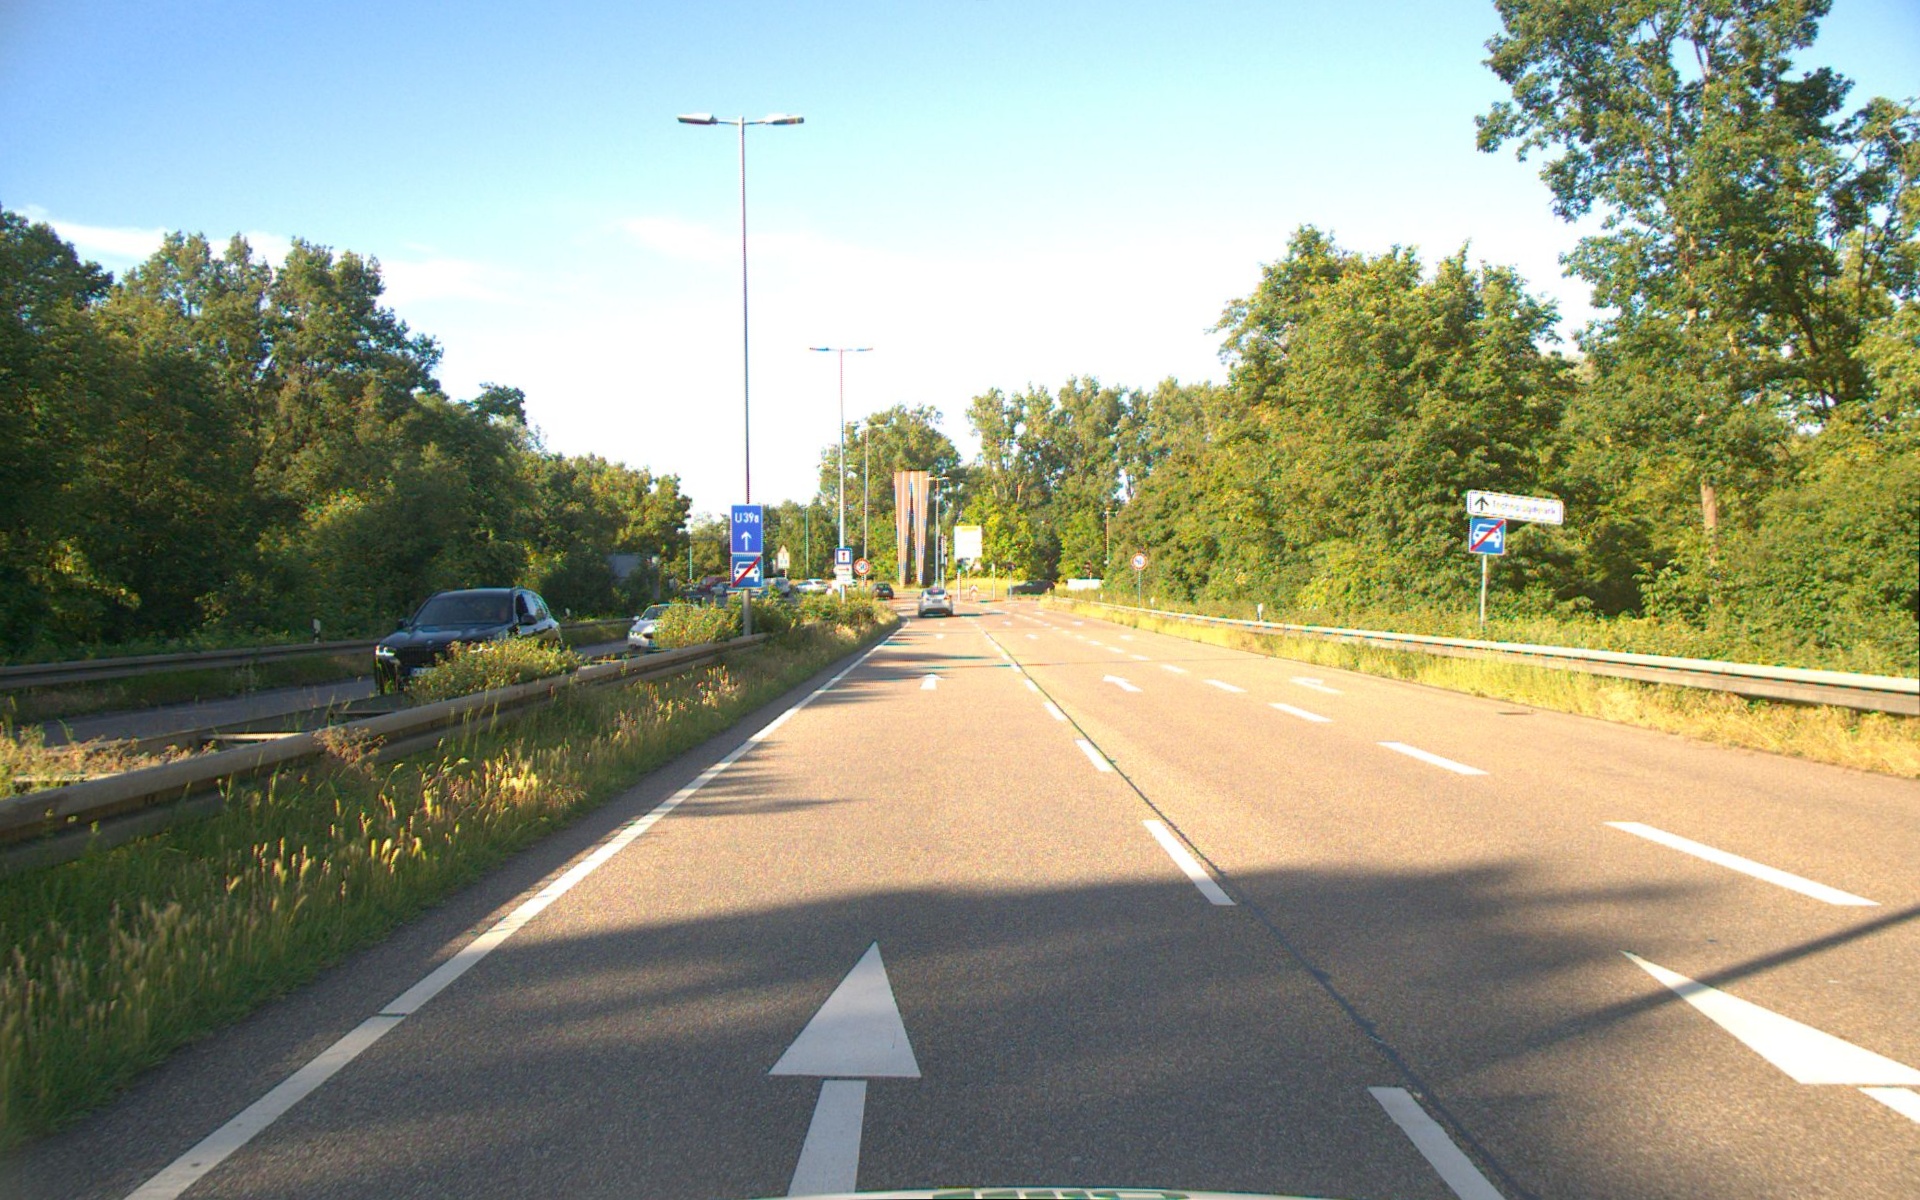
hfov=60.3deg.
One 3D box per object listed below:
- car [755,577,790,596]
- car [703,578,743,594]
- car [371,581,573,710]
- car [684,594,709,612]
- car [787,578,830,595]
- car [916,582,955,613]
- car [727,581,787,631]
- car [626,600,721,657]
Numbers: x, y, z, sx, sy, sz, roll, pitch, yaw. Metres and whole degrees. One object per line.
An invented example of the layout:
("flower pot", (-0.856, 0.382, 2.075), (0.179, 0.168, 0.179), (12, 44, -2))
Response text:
("car", (-17.945, -1.352, 158.478), (1.948, 1.728, 3.961), (-2, 2, -29))
("car", (-23.832, -1.402, 166.209), (2.253, 1.534, 3.941), (-1, 1, -40))
("car", (-7.253, 0.612, 25.064), (1.749, 1.740, 4.546), (-1, 0, -1))
("car", (-22.476, 0.217, 141.263), (1.770, 1.441, 4.526), (-2, 1, -6))
("car", (-14.631, -1.315, 159.589), (4.085, 1.500, 1.961), (1, 2, 45))
("car", (-1.434, -0.146, 96.276), (1.955, 1.668, 4.124), (-1, 1, -5))
("car", (-7.674, 0.191, 62.956), (1.796, 1.803, 4.337), (-1, 0, -1))
("car", (-7.451, 0.709, 43.342), (1.737, 1.380, 4.461), (-1, 0, -1))
